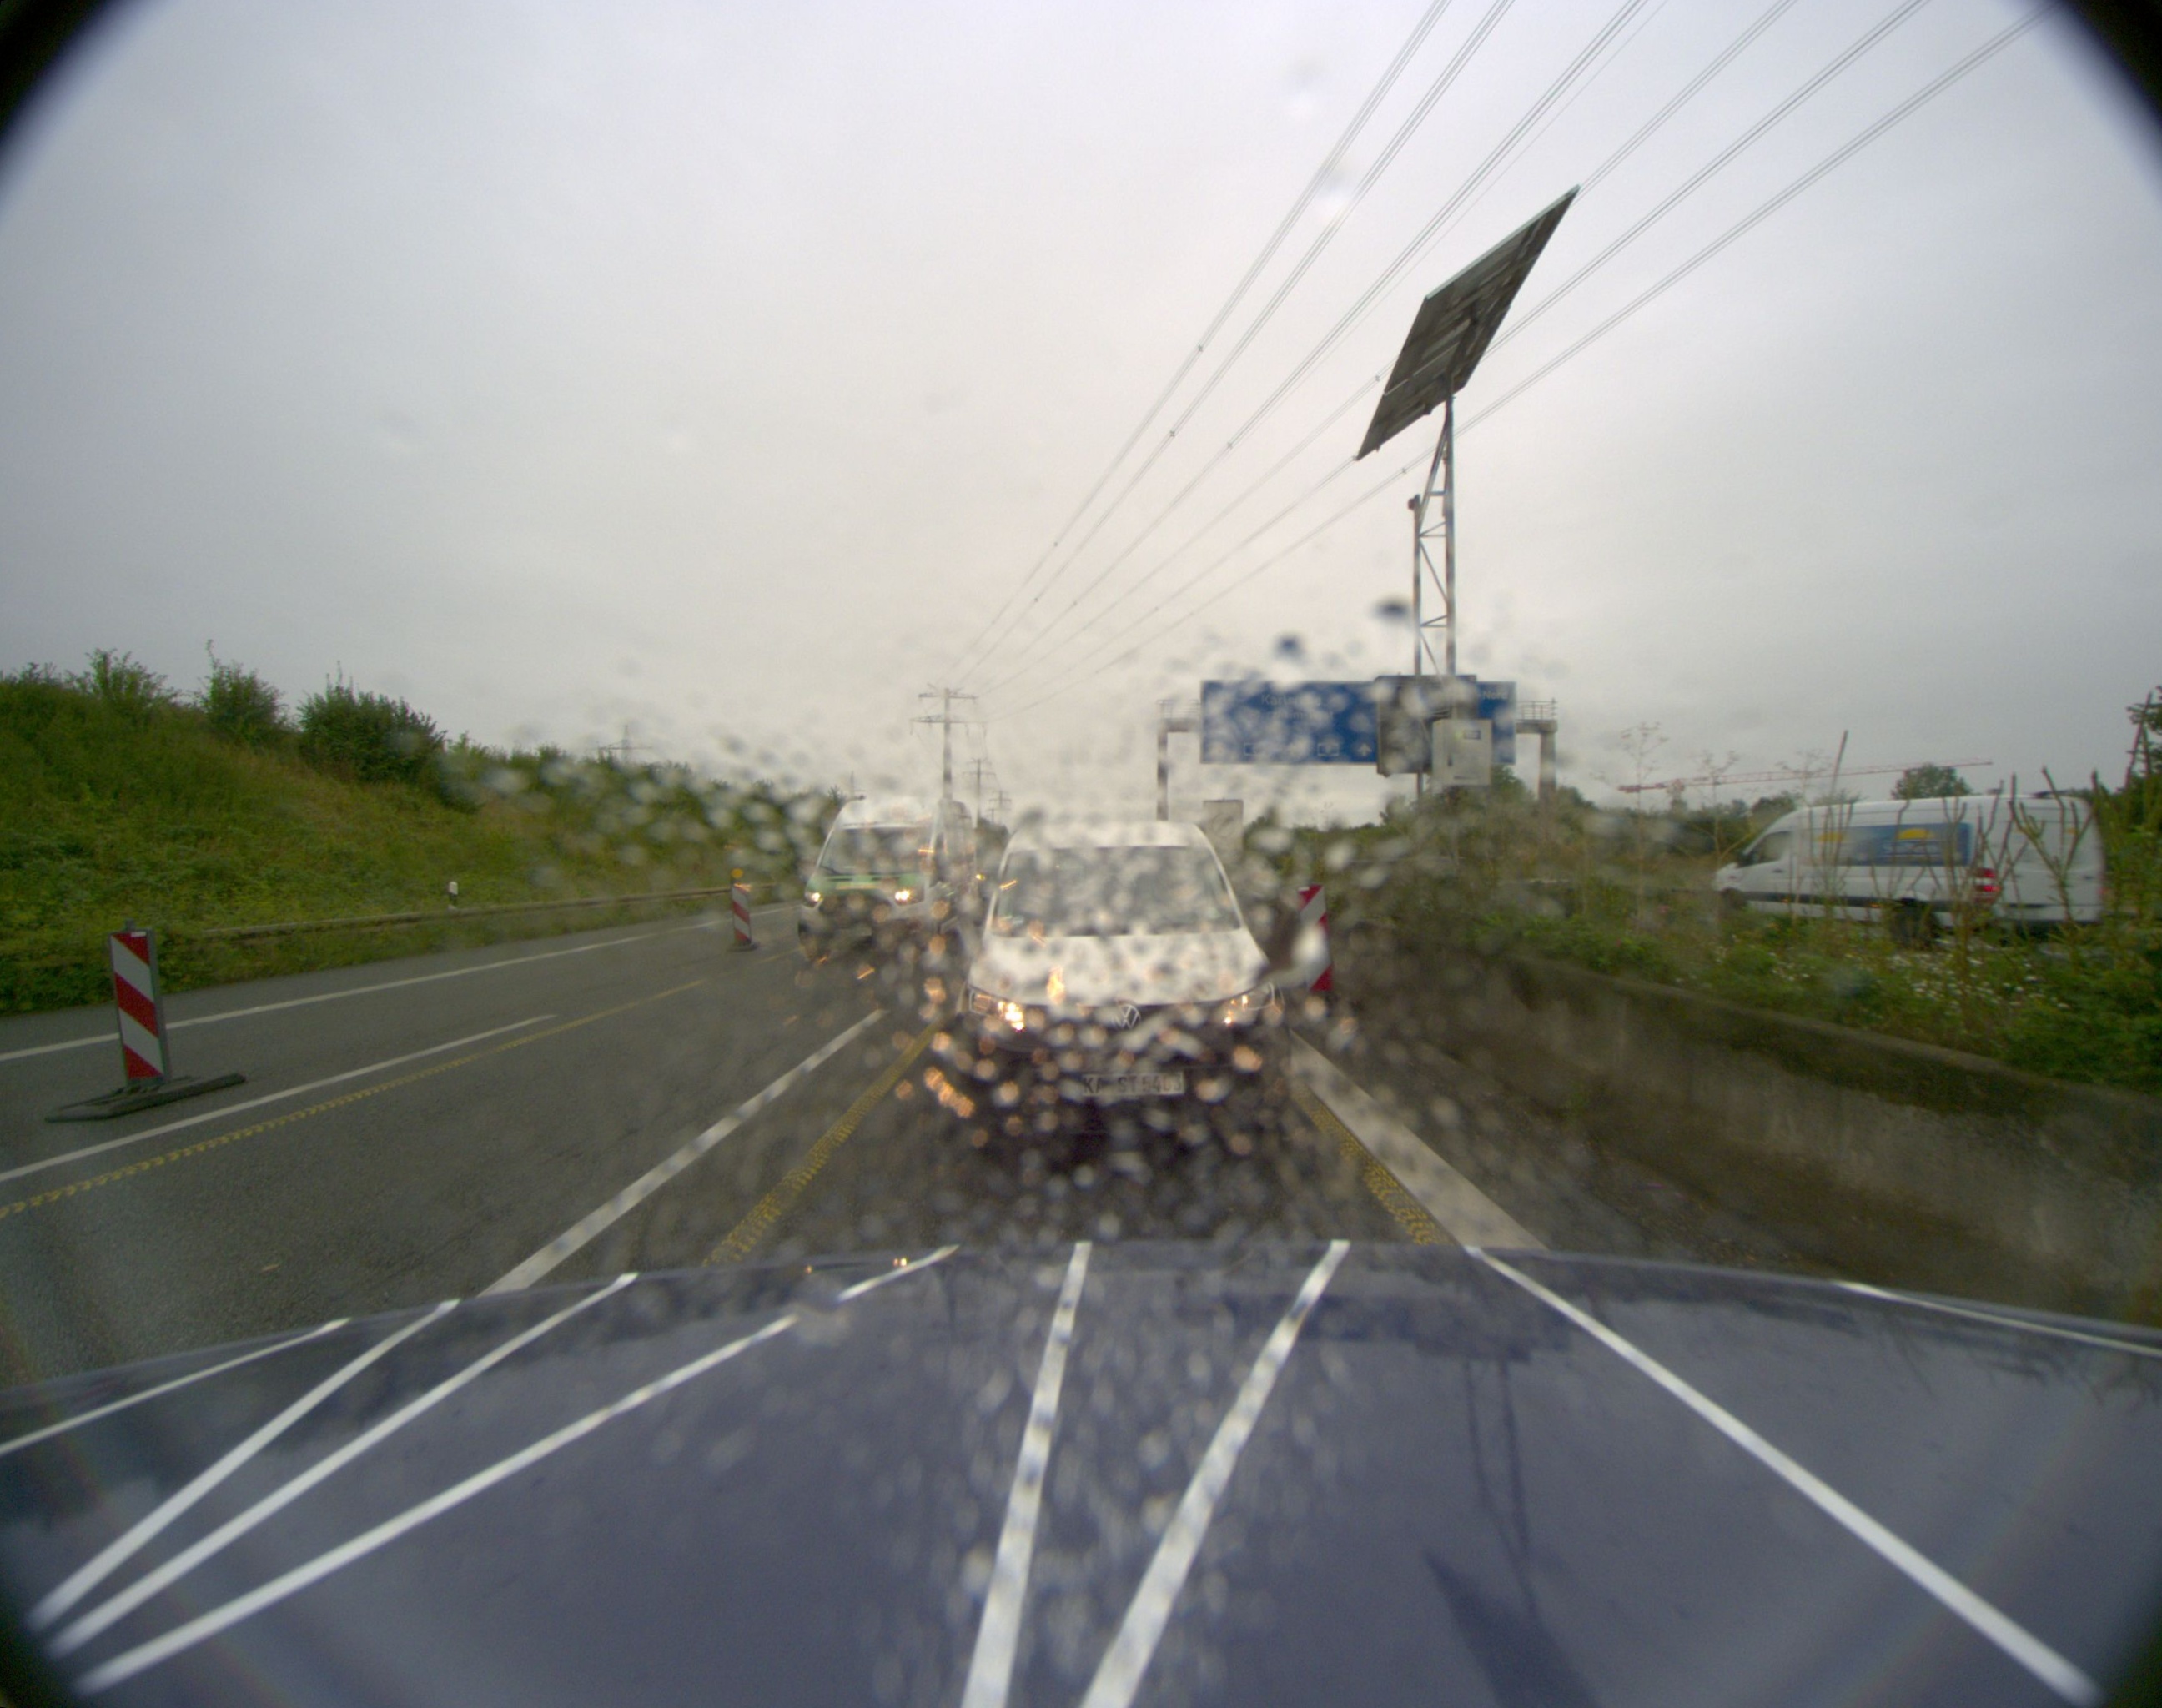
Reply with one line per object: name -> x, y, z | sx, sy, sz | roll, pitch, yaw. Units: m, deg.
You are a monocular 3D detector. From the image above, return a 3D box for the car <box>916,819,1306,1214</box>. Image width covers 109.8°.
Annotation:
car -> 0.168, 0.753, 5.705 | 1.768, 1.803, 4.345 | -1, 0, 1

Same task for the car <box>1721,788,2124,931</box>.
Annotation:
car -> 15.851, 0.081, 14.932 | 2.185, 2.252, 5.203 | -1, 0, 1

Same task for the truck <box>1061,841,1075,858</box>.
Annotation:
truck -> -3.013, -1.032, 175.323 | 2.875, 4.007, 8.308 | -1, 0, 1

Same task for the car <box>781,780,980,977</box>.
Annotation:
car -> -3.227, 0.345, 13.660 | 1.998, 2.766, 5.756 | -1, 0, 0

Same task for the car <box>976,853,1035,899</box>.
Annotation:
car -> -2.934, 0.815, 30.431 | 1.688, 1.649, 4.281 | -1, 0, 3

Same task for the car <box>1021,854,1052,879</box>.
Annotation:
car -> -2.886, 0.794, 50.381 | 1.804, 1.523, 4.149 | -1, 0, -1

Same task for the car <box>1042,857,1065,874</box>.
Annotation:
car -> -2.378, 0.988, 66.378 | 1.804, 1.432, 4.149 | -1, 0, -1
